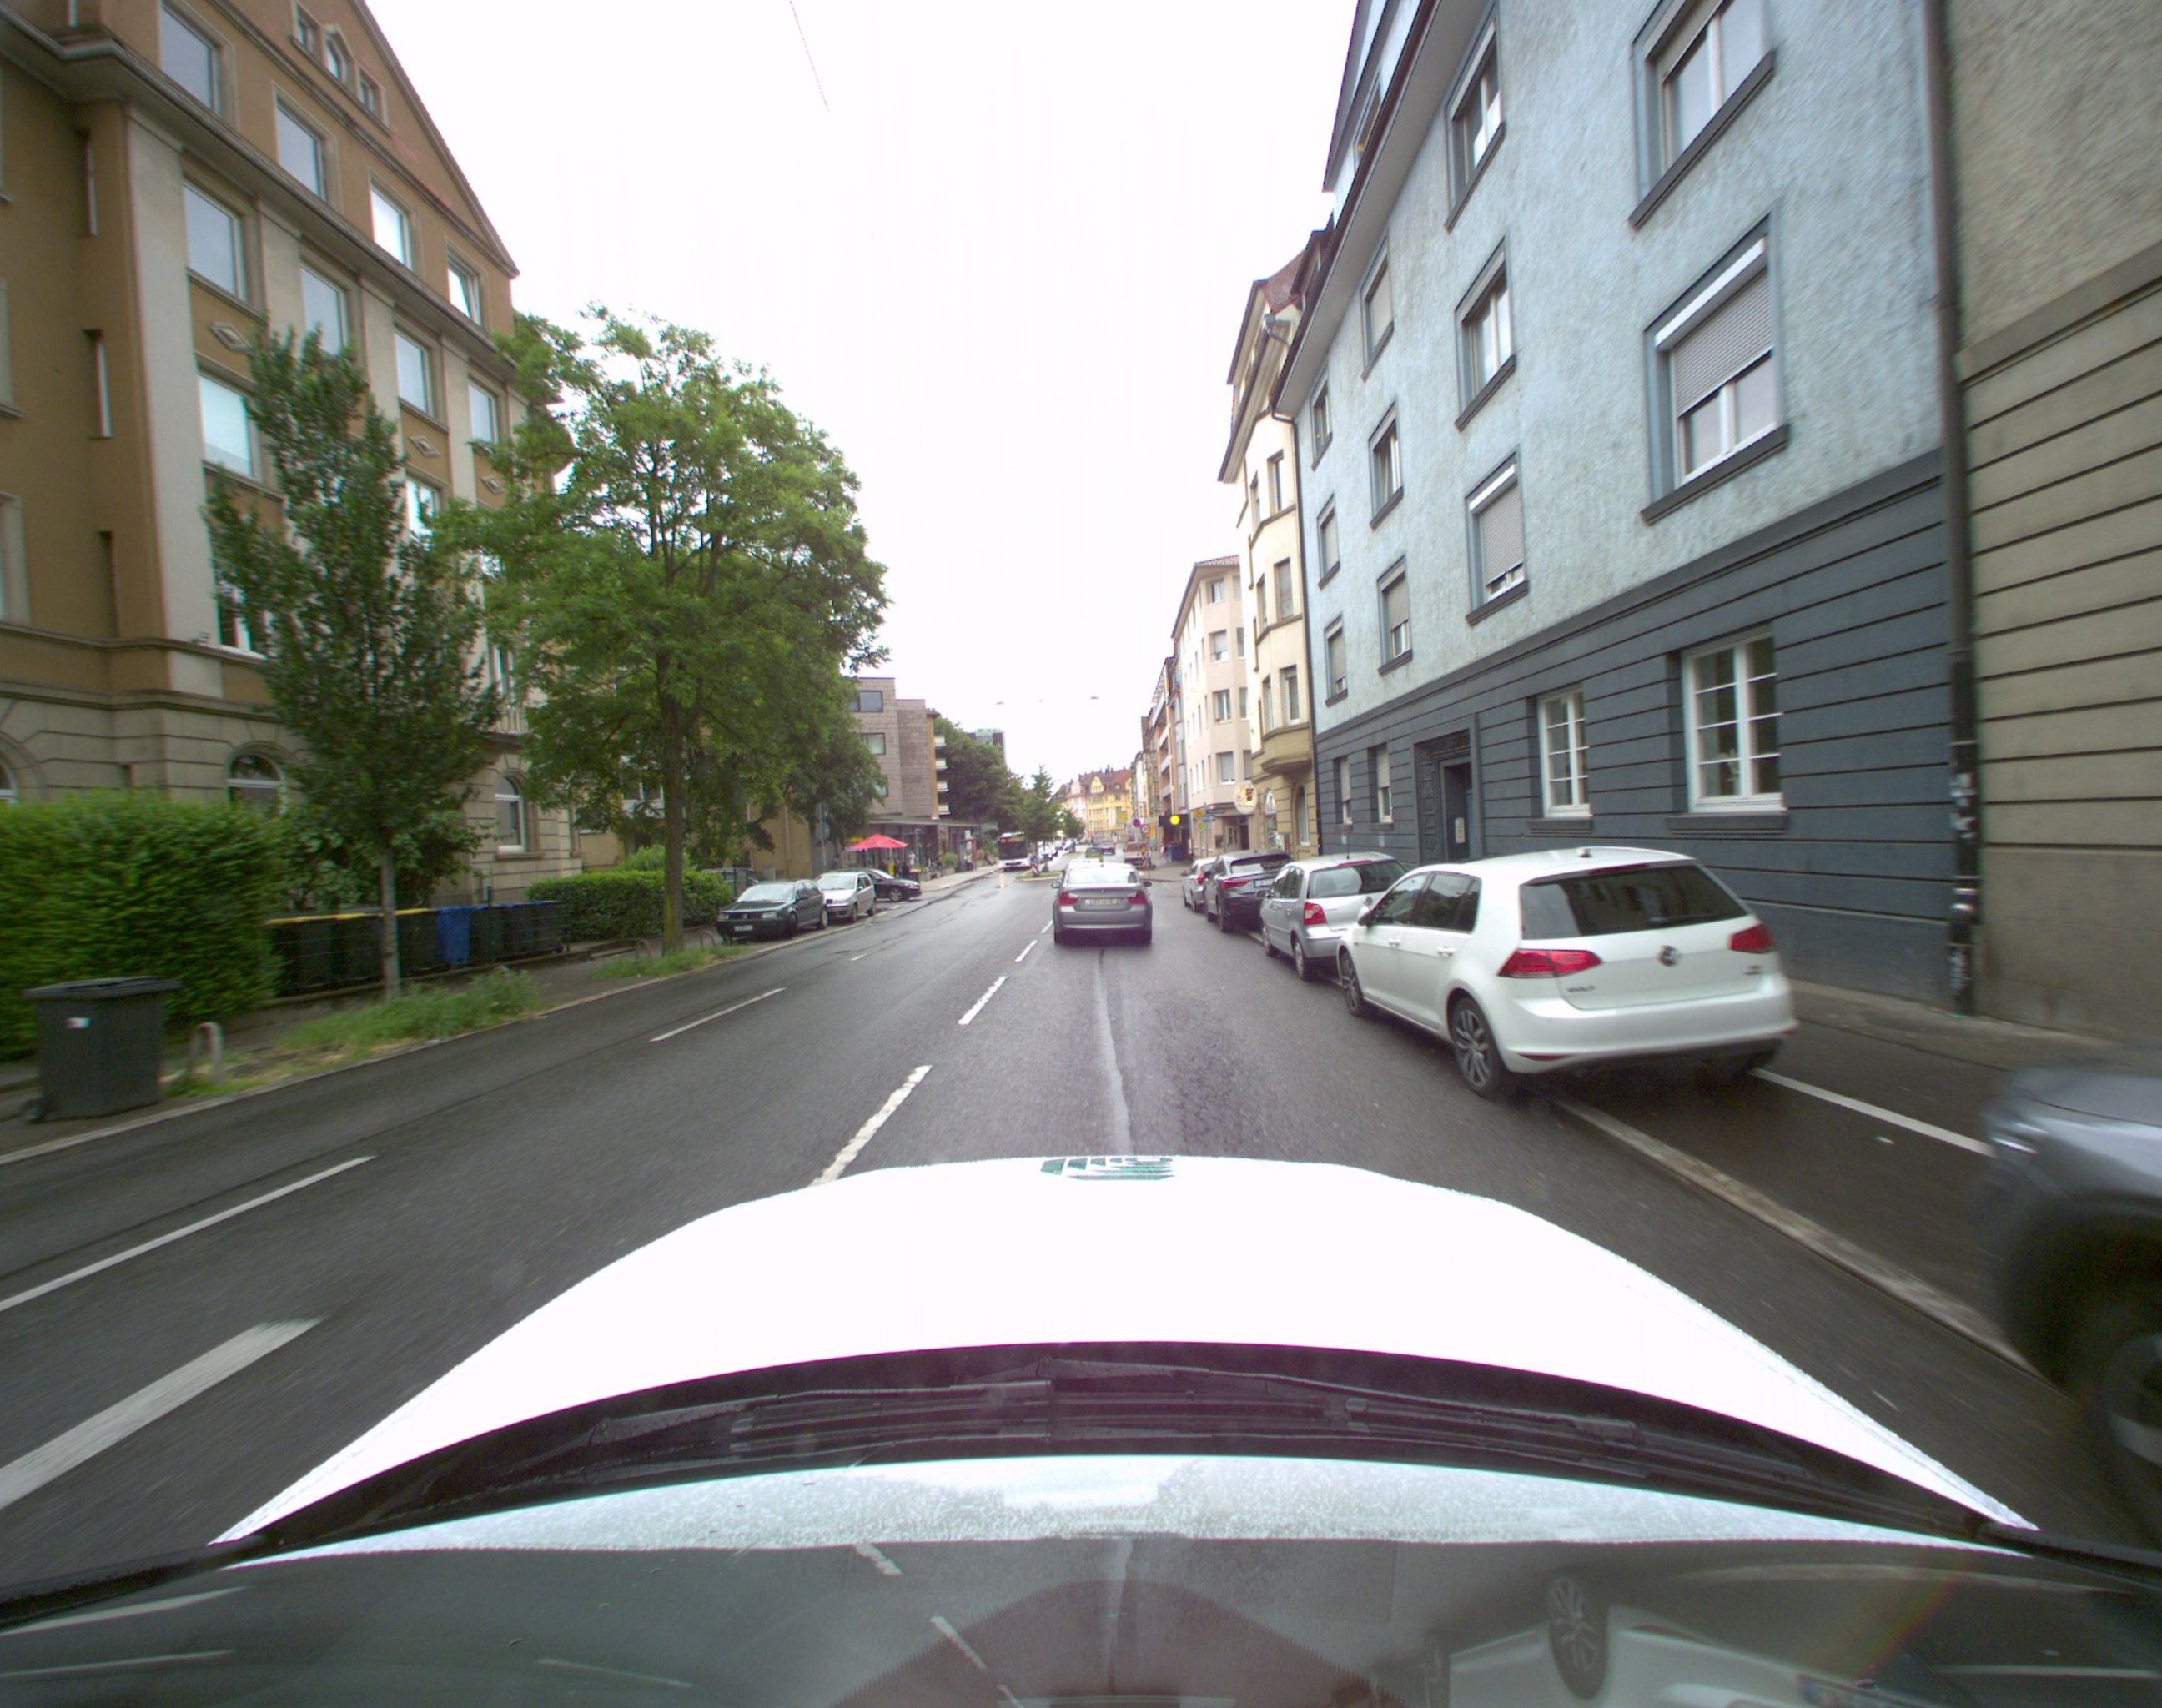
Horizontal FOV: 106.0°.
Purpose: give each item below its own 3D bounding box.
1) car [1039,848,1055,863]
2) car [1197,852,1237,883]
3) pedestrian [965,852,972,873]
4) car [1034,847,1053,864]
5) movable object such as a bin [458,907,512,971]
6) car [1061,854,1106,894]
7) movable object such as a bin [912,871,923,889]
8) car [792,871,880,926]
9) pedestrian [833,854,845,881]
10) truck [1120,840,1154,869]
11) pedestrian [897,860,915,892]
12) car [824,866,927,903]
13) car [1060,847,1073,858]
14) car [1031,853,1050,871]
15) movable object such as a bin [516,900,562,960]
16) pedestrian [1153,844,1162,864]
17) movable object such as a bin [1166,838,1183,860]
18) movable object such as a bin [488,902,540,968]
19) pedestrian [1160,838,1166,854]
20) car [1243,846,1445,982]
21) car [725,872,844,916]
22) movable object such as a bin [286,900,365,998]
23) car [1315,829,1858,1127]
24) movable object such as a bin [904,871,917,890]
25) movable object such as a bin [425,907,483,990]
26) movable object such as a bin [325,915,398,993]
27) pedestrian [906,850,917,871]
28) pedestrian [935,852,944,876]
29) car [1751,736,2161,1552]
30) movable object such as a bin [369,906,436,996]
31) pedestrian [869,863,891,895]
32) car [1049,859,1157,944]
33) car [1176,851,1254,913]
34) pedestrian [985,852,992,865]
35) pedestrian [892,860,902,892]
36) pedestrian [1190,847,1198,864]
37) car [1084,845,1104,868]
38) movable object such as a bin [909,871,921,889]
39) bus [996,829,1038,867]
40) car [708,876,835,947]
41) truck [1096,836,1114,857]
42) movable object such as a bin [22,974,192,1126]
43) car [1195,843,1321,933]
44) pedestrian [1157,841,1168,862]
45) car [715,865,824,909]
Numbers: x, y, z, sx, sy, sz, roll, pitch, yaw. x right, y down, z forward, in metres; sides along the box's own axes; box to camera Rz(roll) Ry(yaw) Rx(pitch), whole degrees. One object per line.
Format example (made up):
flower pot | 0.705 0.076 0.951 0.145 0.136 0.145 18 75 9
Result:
car | -4.667 0.171 112.543 1.987 2.014 4.000 0 -1 1
car | 6.251 0.649 37.774 1.429 1.357 3.765 0 -1 3
pedestrian | -9.444 0.723 68.460 0.542 1.709 0.465 0 -1 -5
car | -4.610 0.255 100.721 1.987 2.014 4.000 0 -1 1
movable object such as a bin | -10.561 1.490 14.446 0.424 1.040 0.650 -3 0 1
car | 0.095 0.758 30.665 1.597 1.420 3.286 0 -1 -1
movable object such as a bin | -10.094 1.608 50.278 0.488 1.081 0.606 -4 -1 2
car | -7.476 1.308 25.214 1.627 1.454 3.836 -3 0 -2
pedestrian | -16.805 0.951 56.642 0.639 1.816 0.630 -3 0 -24
truck | 4.231 0.058 60.891 2.203 2.117 4.661 1 -1 7
pedestrian | -9.608 1.210 44.651 0.742 1.709 0.676 -5 0 -19
car | -8.533 1.269 34.019 3.803 1.390 1.743 -2 -1 0
car | -2.705 -0.298 154.762 1.983 2.014 4.008 0 -1 7
car | -4.682 0.912 94.894 1.987 2.014 4.000 1 -1 1
movable object such as a bin | -10.551 1.475 15.863 0.438 1.081 0.590 -3 0 1
pedestrian | 6.497 0.008 68.920 0.745 1.661 0.838 0 -1 8
movable object such as a bin | 7.782 -0.384 67.804 1.119 1.702 1.433 -4 -1 -1
movable object such as a bin | -10.559 1.498 15.171 0.438 1.130 0.657 -3 0 1
pedestrian | 8.714 -0.813 86.908 0.611 1.661 0.756 0 -1 8
car | 3.397 0.695 11.219 1.577 1.429 3.596 -6 0 1
car | -11.279 1.510 31.136 3.799 1.389 1.745 -3 1 4
movable object such as a bin | -10.713 1.331 11.567 0.438 1.299 0.650 -3 0 1
car | 3.272 0.665 6.343 1.723 1.429 3.975 -6 0 1
movable object such as a bin | -10.217 1.604 48.838 0.551 1.081 0.731 -4 -1 2
movable object such as a bin | -10.567 1.577 13.743 0.438 1.308 0.609 -3 0 1
movable object such as a bin | -10.656 1.467 12.074 0.438 1.039 0.650 -3 0 1
pedestrian | -13.769 0.563 66.168 0.651 1.706 0.666 -1 -2 33
pedestrian | -10.699 0.745 61.638 0.547 1.790 0.461 1 -2 -40
car | 2.998 0.503 0.384 1.834 1.621 4.208 -4 -1 1
movable object such as a bin | -10.625 1.506 12.773 0.438 1.308 0.650 -3 0 1
pedestrian | -11.191 1.383 45.451 1.061 1.731 0.712 -2 0 -9
car | 0.416 0.809 15.083 1.749 1.362 3.165 -2 -1 2
car | 3.695 0.724 23.036 1.563 1.464 4.091 -5 0 2
pedestrian | -9.612 0.454 84.369 0.617 1.378 0.545 0 -1 2
pedestrian | -9.882 1.194 43.830 0.466 1.709 0.541 0 -1 -19
pedestrian | 8.477 0.130 61.076 0.411 1.203 0.357 -5 1 4
car | 1.117 0.245 70.997 1.700 2.014 3.998 0 -1 -1
movable object such as a bin | -10.099 1.576 49.600 0.488 1.081 0.606 -4 -1 2
bus | -5.687 -0.431 74.483 2.672 3.201 11.956 0 -1 1
car | -7.750 1.389 20.790 1.648 1.454 3.942 -3 0 0
truck | 3.035 -0.943 103.720 2.209 2.544 4.780 0 -1 1
movable object such as a bin | -7.860 1.559 6.597 0.627 1.058 0.600 -3 -1 2
car | 3.627 0.652 17.488 1.811 1.557 4.295 -5 0 2
pedestrian | 6.657 -0.223 66.450 0.749 1.661 0.753 0 -1 -5
car | -13.065 1.372 34.287 3.796 1.582 1.694 -3 1 1
